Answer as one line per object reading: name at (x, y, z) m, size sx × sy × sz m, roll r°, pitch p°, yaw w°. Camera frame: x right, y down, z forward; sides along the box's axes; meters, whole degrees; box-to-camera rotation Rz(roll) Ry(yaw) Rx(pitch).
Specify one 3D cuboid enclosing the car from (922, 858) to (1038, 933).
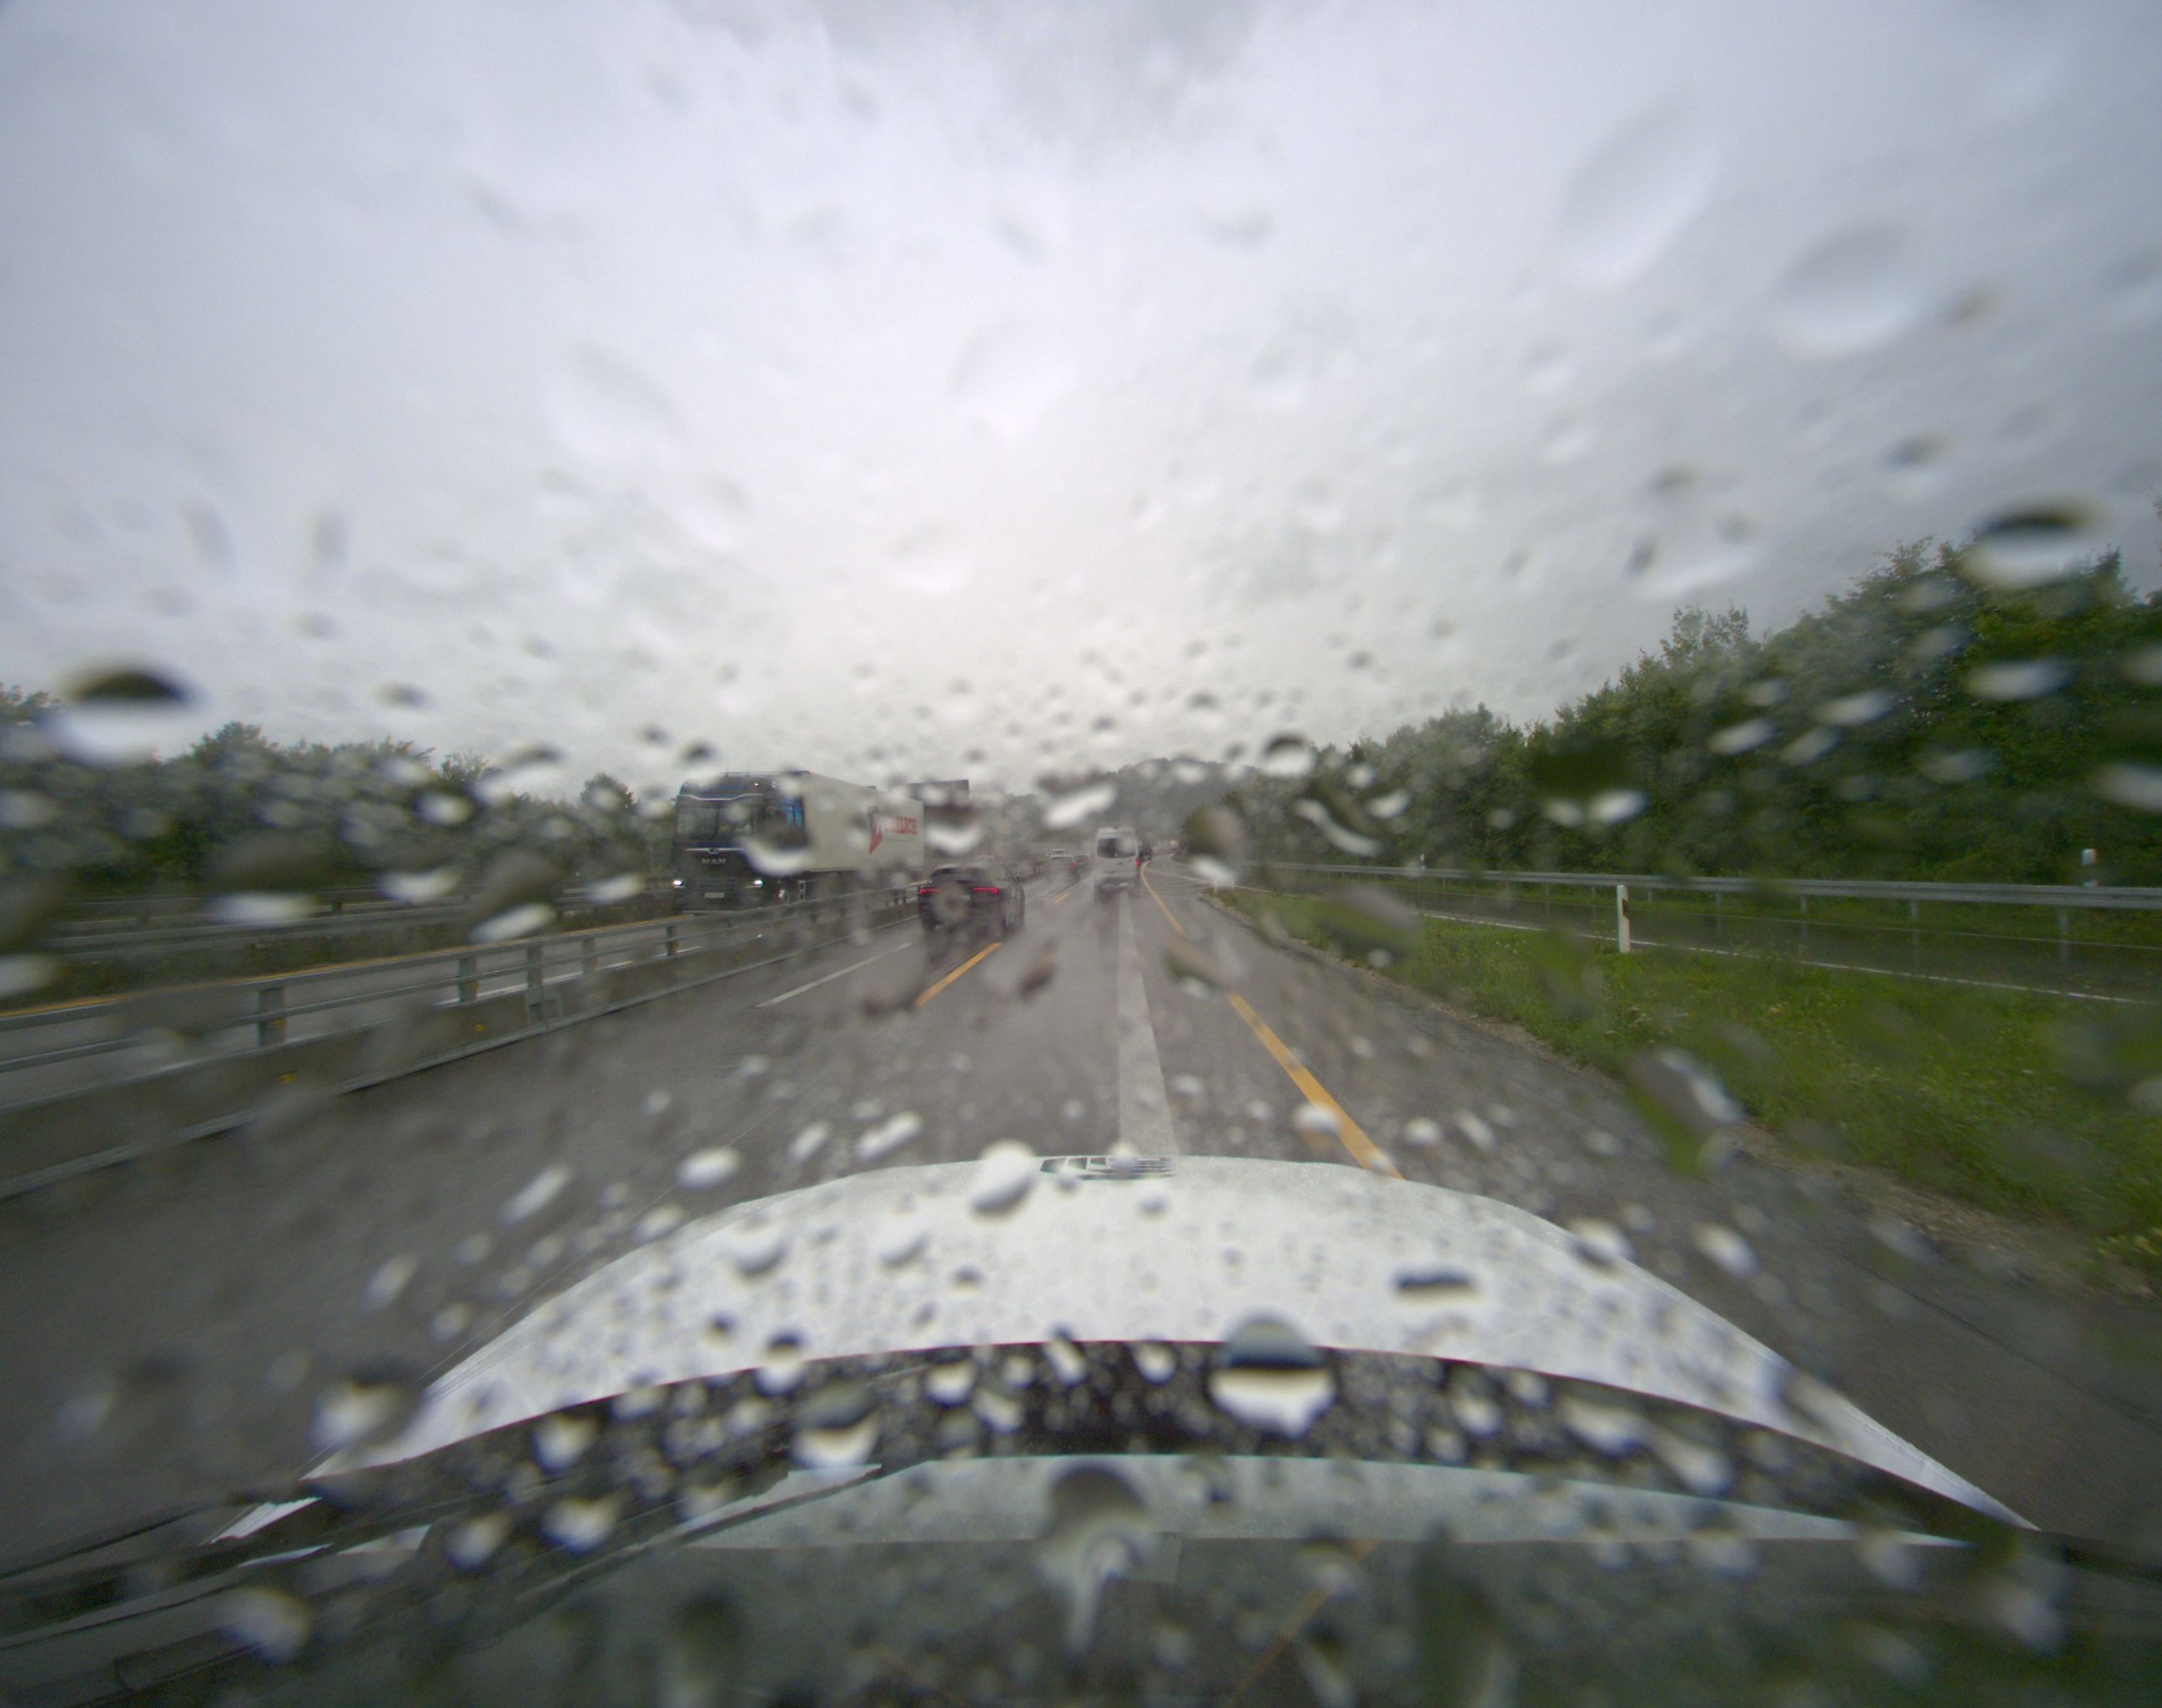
car at (-2.068, 0.813, 18.080) m, size 1.932 × 1.427 × 4.760 m, roll 0°, pitch 0°, yaw 0°

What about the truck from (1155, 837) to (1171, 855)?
truck at (22.327, -2.118, 221.012) m, size 3.907 × 4.785 × 9.927 m, roll 0°, pitch -1°, yaw 7°

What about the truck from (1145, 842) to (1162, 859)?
truck at (16.137, -0.767, 181.848) m, size 3.307 × 3.762 × 9.913 m, roll 0°, pitch -1°, yaw 3°

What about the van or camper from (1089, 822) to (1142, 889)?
van or camper at (1.518, 0.073, 35.745) m, size 2.131 × 2.721 × 4.651 m, roll -1°, pitch 0°, yaw 2°

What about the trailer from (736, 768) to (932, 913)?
trailer at (-8.630, -0.332, 31.015) m, size 2.881 × 4.286 × 12.903 m, roll -2°, pitch -1°, yaw 3°

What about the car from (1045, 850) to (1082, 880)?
car at (-0.989, 0.653, 47.974) m, size 1.860 × 1.659 × 3.990 m, roll -1°, pitch 0°, yaw 2°

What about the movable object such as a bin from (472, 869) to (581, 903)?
movable object such as a bin at (-25.389, 1.437, 37.470) m, size 2.117 × 1.425 × 4.003 m, roll 0°, pitch -1°, yaw 3°

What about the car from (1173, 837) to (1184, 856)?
car at (21.800, -1.579, 182.518) m, size 2.048 × 4.192 × 6.755 m, roll -1°, pitch 0°, yaw 5°

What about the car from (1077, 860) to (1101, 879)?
car at (0.723, 1.287, 67.556) m, size 1.845 × 1.500 × 4.002 m, roll -1°, pitch 0°, yaw 2°

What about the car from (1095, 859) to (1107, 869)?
car at (2.223, 1.083, 91.815) m, size 1.257 × 1.078 × 3.256 m, roll -1°, pitch 0°, yaw 2°

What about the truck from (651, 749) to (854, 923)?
truck at (-9.024, -0.413, 23.305) m, size 2.877 × 4.232 × 6.331 m, roll -2°, pitch -1°, yaw 3°

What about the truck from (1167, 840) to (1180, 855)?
truck at (29.511, -2.029, 259.163) m, size 3.907 × 4.785 × 9.927 m, roll 0°, pitch -1°, yaw 7°

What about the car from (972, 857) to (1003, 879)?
car at (-6.794, 1.008, 59.531) m, size 1.601 × 1.504 × 4.219 m, roll 0°, pitch -1°, yaw 2°

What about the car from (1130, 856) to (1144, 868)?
car at (6.351, 0.913, 92.701) m, size 1.380 × 1.256 × 3.121 m, roll -1°, pitch 0°, yaw -1°

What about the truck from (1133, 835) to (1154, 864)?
truck at (10.691, -0.667, 140.195) m, size 3.307 × 4.785 × 9.913 m, roll 0°, pitch -1°, yaw 3°
